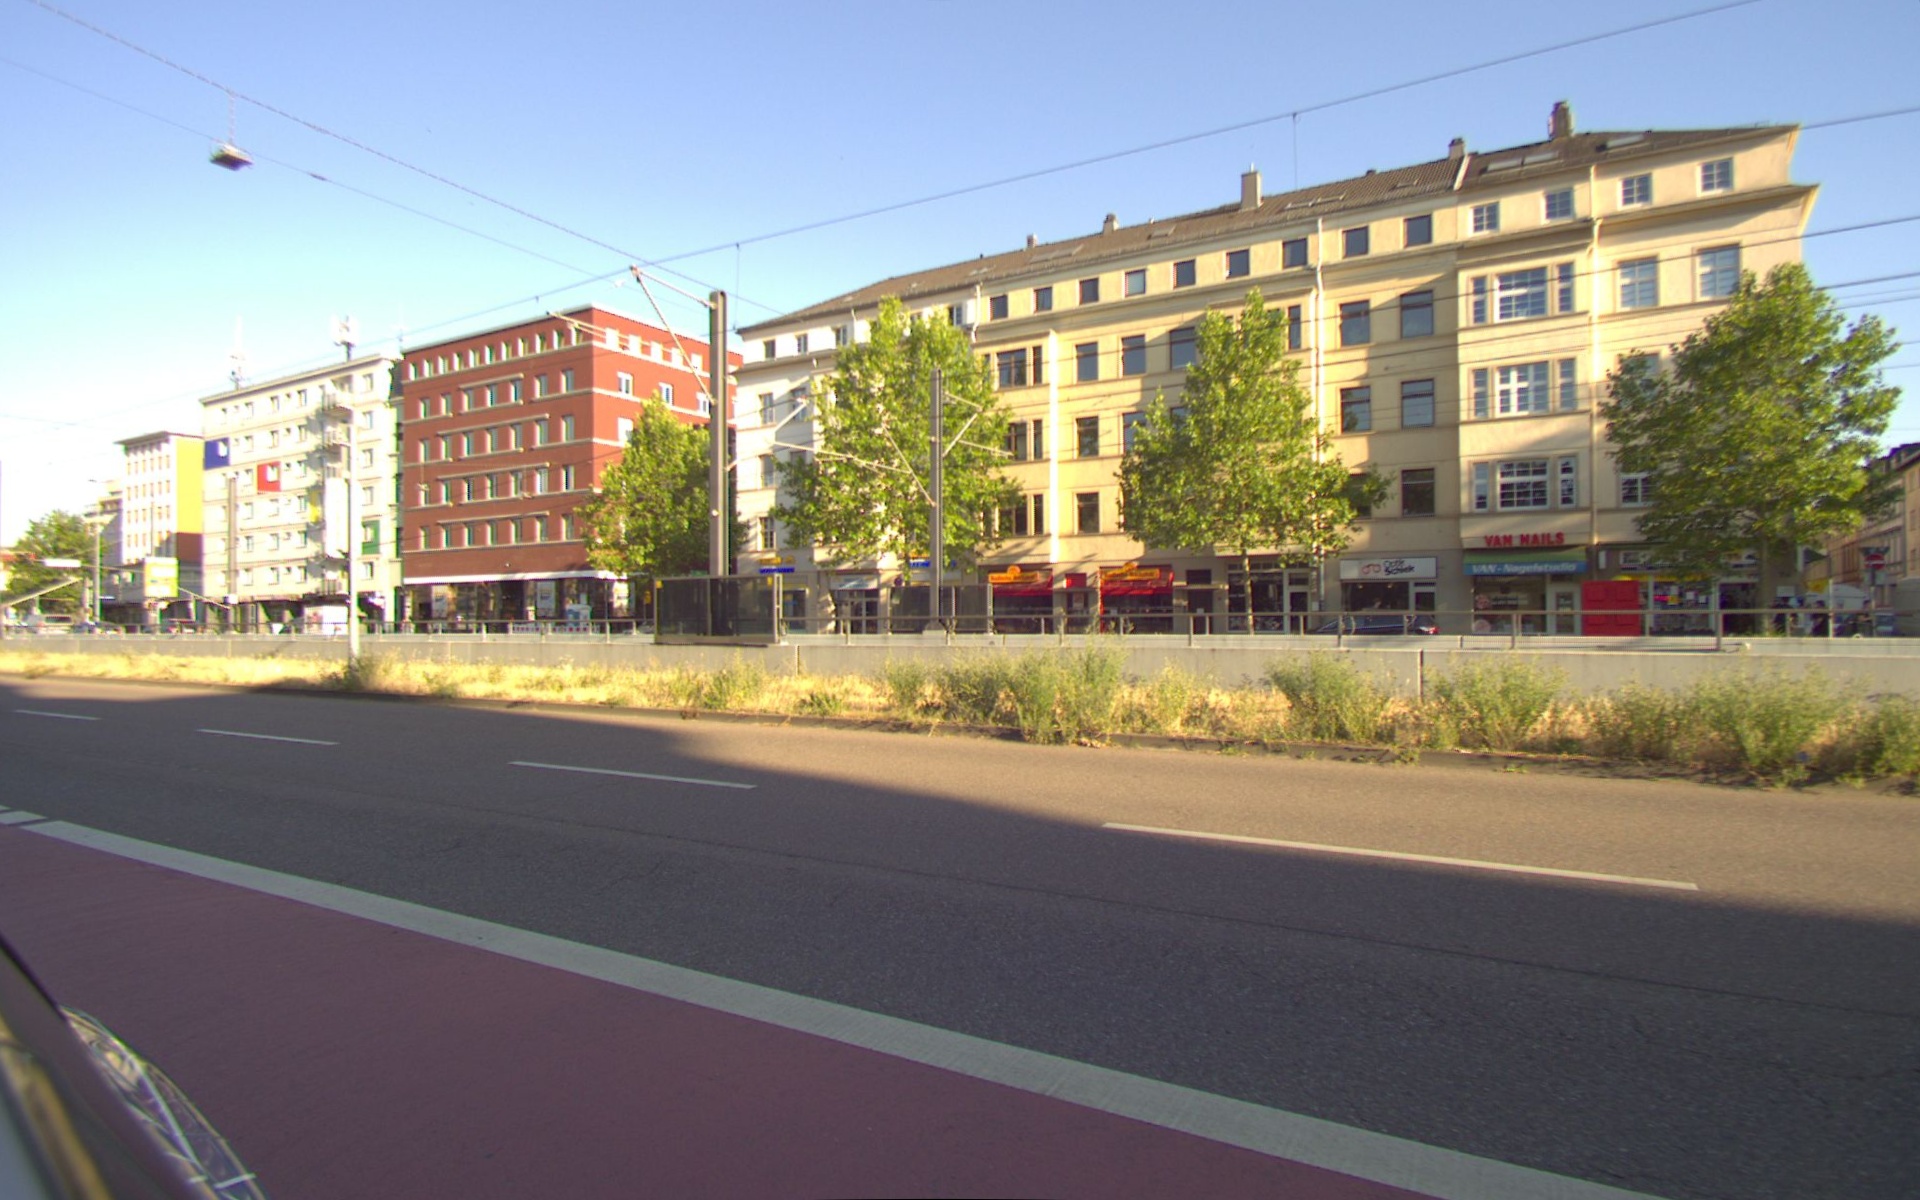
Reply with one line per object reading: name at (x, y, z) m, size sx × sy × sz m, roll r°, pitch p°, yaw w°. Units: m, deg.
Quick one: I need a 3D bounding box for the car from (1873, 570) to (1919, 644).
car at (30.779, 0.198, 30.721) m, size 2.456 × 2.284 × 7.229 m, roll -1°, pitch -1°, yaw 25°

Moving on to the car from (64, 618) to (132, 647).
car at (-55.843, 2.101, 65.541) m, size 4.879 × 1.811 × 1.978 m, roll -2°, pitch -1°, yaw 32°

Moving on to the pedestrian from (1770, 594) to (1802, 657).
pedestrian at (25.740, 0.785, 31.540) m, size 0.582 × 1.933 × 0.628 m, roll -1°, pitch 1°, yaw 23°

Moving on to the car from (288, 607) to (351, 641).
car at (-41.862, 1.611, 66.076) m, size 4.563 × 2.150 × 1.935 m, roll -2°, pitch -2°, yaw 36°

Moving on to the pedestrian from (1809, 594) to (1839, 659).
pedestrian at (26.249, 0.792, 30.750) m, size 0.584 × 1.933 × 0.626 m, roll -1°, pitch 1°, yaw 32°

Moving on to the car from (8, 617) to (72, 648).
car at (-63.625, 2.220, 69.974) m, size 4.756 × 2.029 × 1.980 m, roll -1°, pitch -1°, yaw 30°

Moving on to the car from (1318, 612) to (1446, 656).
car at (13.870, 1.087, 33.325) m, size 3.698 × 1.342 × 1.443 m, roll -1°, pitch 1°, yaw 32°
